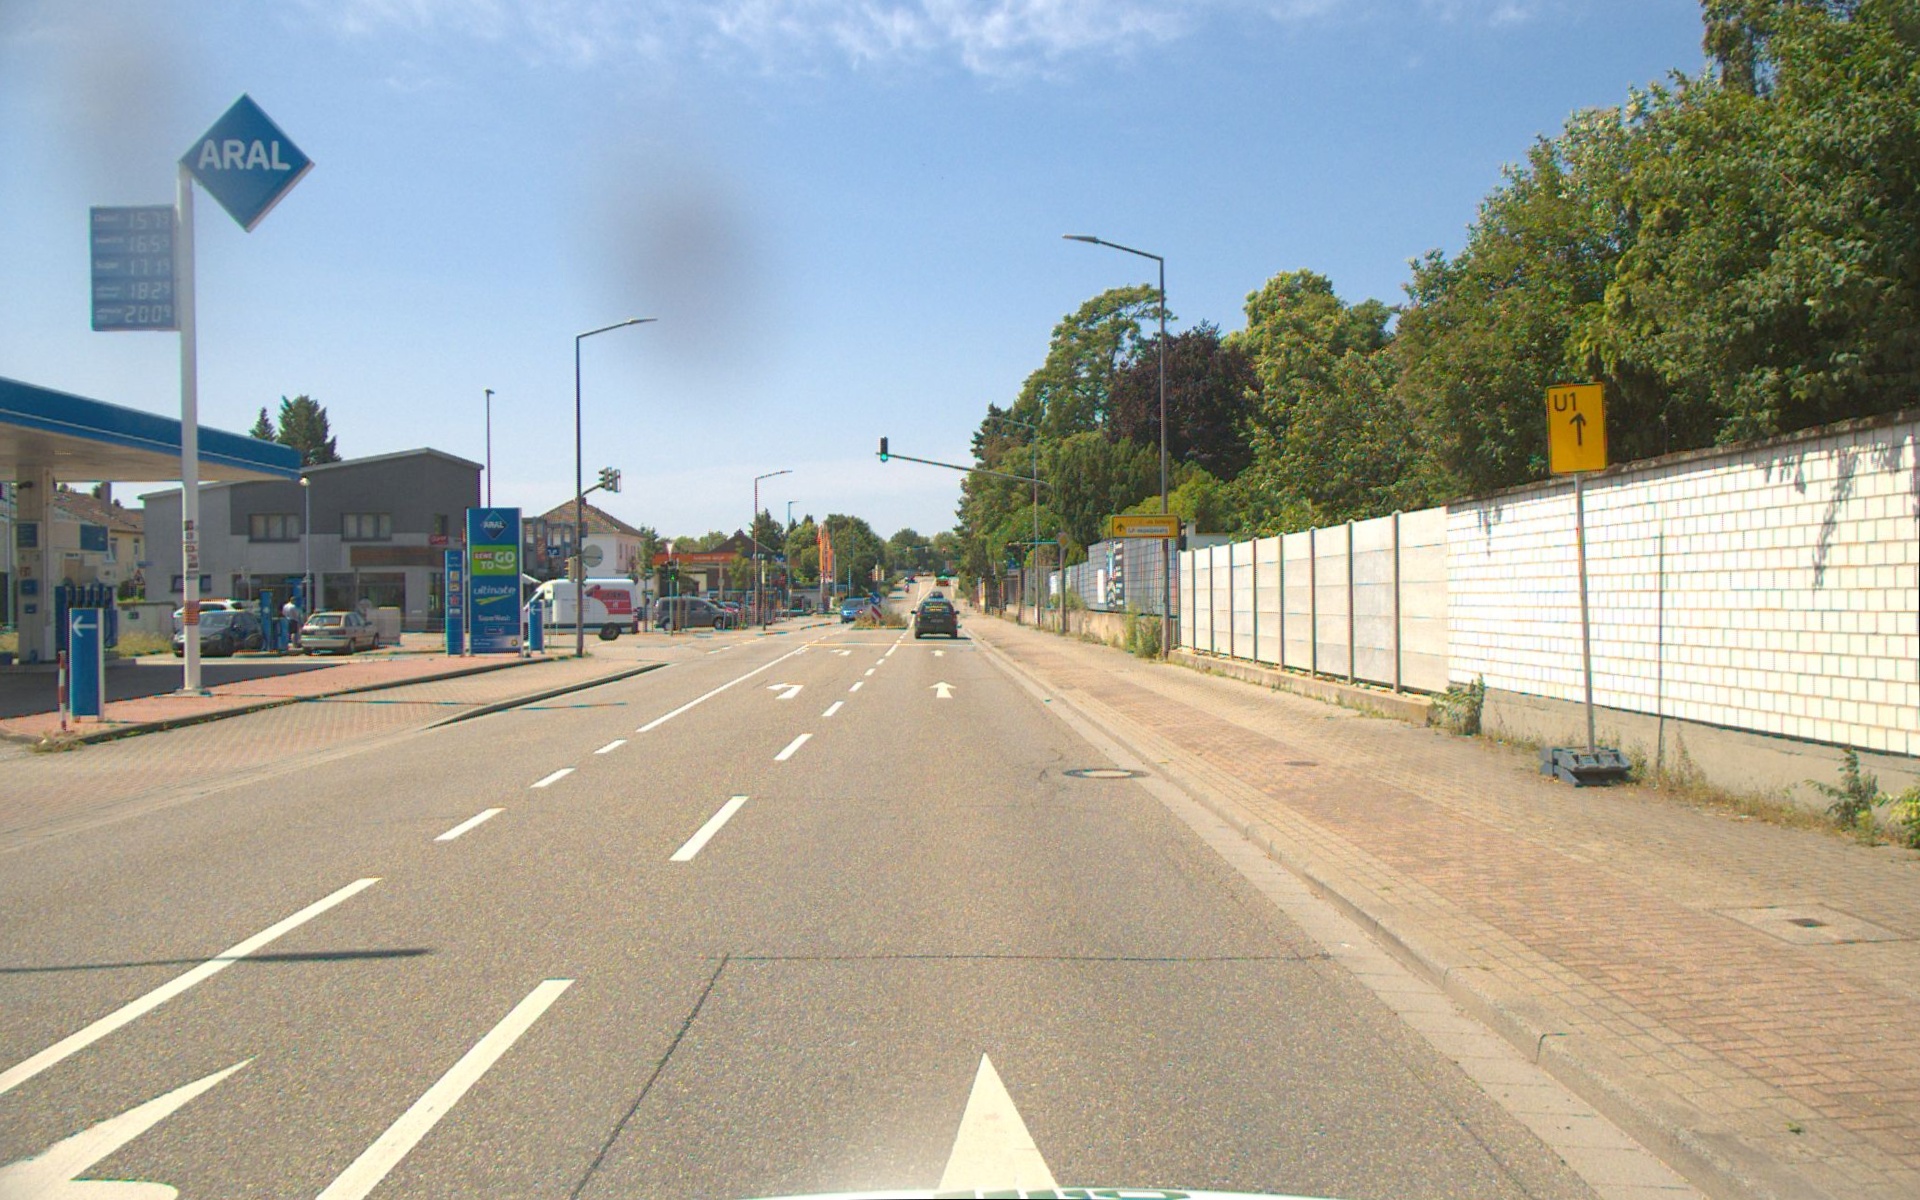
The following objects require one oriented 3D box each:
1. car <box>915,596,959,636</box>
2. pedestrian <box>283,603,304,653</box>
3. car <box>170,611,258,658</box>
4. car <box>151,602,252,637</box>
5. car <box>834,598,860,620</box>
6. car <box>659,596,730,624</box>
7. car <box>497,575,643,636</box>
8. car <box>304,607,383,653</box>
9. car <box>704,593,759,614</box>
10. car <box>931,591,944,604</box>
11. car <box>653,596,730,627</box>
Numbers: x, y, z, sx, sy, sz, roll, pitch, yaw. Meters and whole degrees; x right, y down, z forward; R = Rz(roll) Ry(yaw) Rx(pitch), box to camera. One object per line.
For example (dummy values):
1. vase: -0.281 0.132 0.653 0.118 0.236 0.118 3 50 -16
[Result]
1. car: -0.917 0.614 64.451 1.632 1.481 3.471 -1 0 -1
2. pedestrian: -23.342 0.984 57.914 0.603 1.721 0.702 -1 0 -27
3. car: -25.357 1.160 56.341 1.586 1.445 3.707 -2 0 -6
4. car: -34.993 0.909 76.388 3.909 1.534 1.553 -1 0 -5
5. car: -7.605 0.607 111.323 1.554 1.418 3.471 -1 0 -1
6. car: -15.288 0.570 95.362 3.909 1.534 1.553 -1 0 -5
7. car: -16.742 0.258 71.034 5.844 2.465 1.987 1 -2 -22
8. car: -21.201 1.017 57.025 1.586 1.445 3.707 -2 0 -6
9. car: -16.929 0.249 122.655 3.909 1.534 1.553 -1 0 -5
10. car: -2.740 -0.305 200.947 1.632 1.481 3.471 -1 0 -1
11. car: -14.222 0.598 87.725 3.909 1.534 1.553 -1 0 -5
